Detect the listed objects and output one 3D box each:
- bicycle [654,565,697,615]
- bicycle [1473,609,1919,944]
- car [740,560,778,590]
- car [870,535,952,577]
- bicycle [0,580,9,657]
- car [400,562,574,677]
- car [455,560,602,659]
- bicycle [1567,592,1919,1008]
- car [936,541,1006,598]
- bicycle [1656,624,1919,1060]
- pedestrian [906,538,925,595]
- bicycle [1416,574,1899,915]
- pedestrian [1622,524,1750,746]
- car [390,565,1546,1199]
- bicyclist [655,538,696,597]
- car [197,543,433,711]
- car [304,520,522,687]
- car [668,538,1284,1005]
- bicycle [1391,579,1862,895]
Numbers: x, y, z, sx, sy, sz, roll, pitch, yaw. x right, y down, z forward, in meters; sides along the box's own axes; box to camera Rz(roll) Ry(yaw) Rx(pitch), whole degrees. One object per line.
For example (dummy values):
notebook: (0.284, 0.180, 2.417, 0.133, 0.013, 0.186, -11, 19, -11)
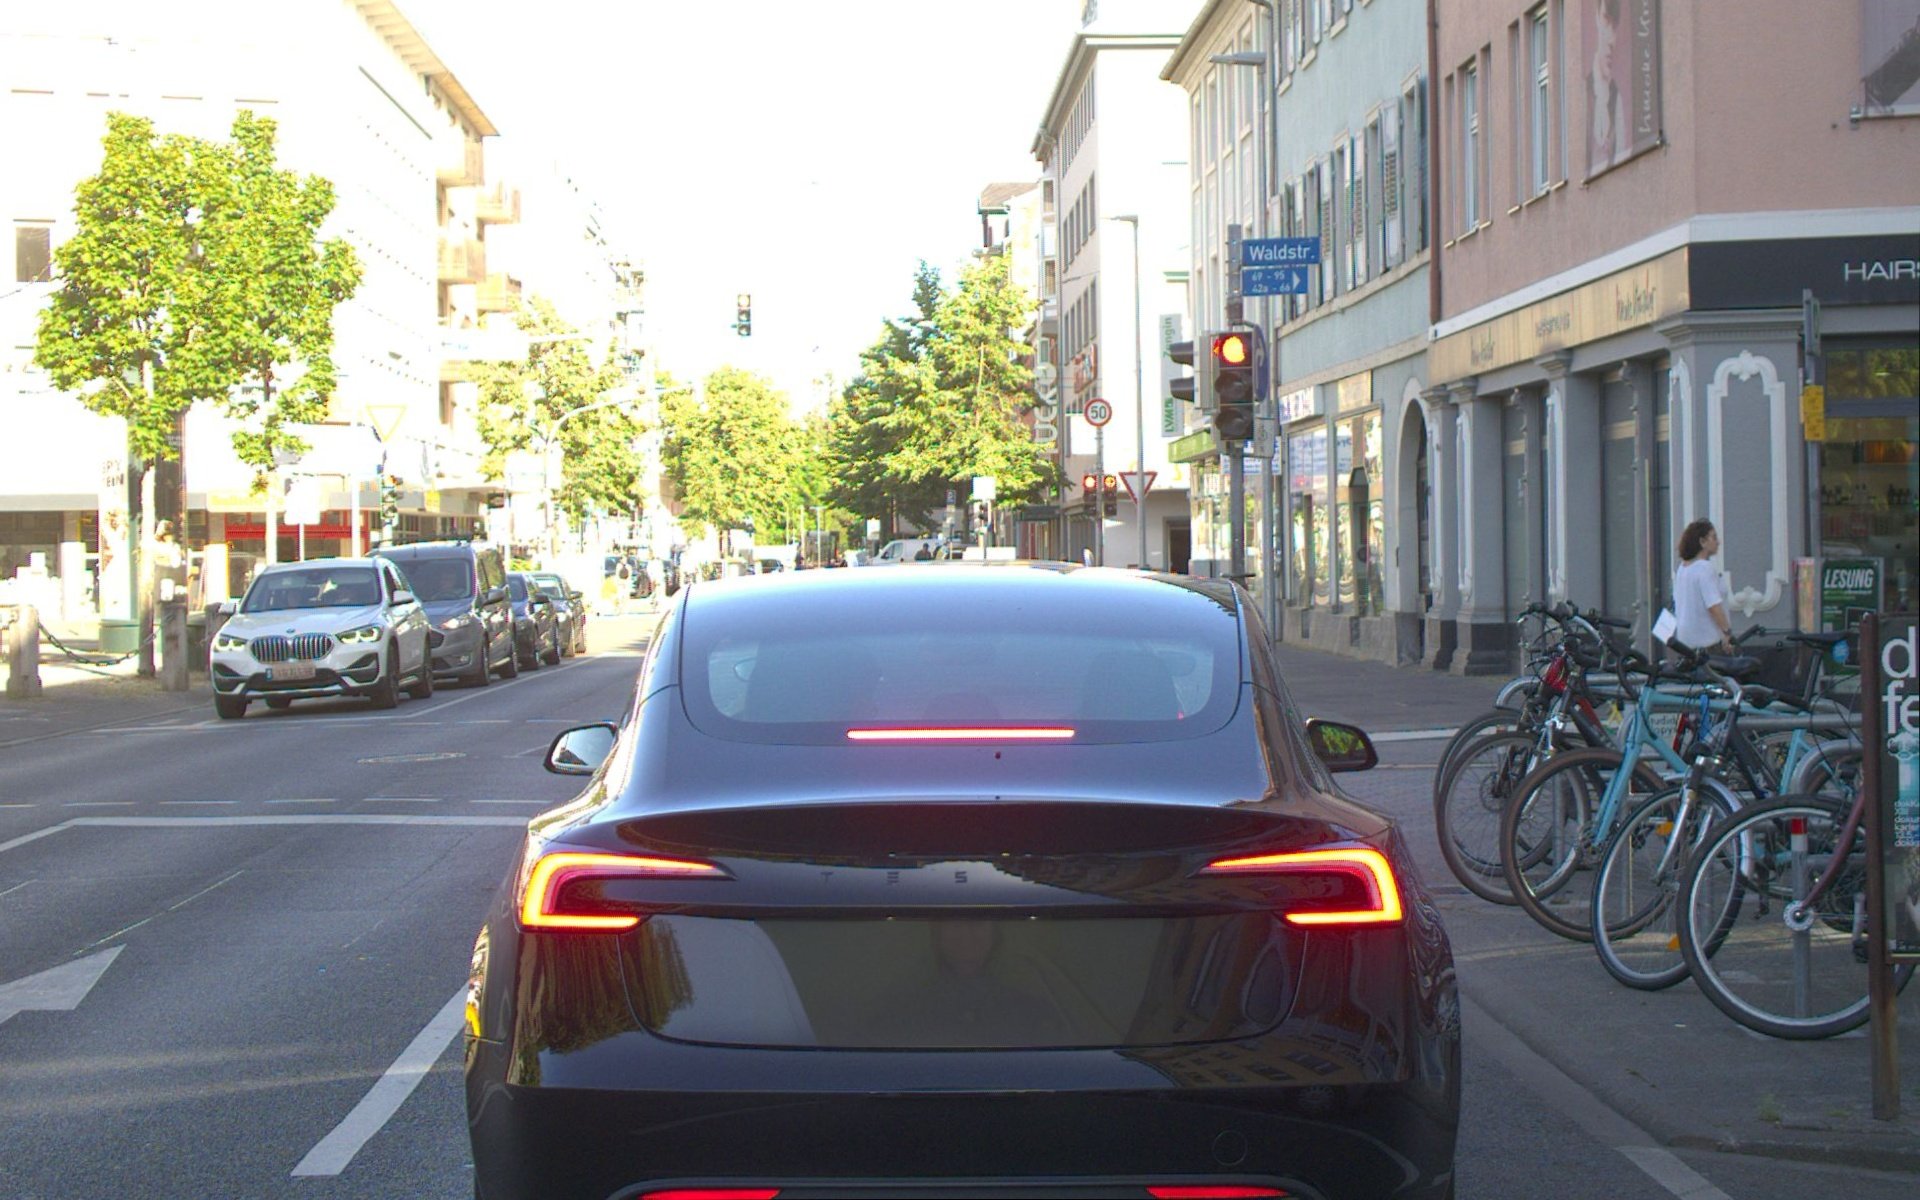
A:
bicycle: (-7.890, -0.293, 95.541, 1.111, 1.340, 4.001, 0, 1, -3)
bicycle: (2.809, 0.624, 12.480, 1.798, 1.120, 0.781, -2, 1, 5)
car: (-10.935, -1.365, 187.085, 1.993, 1.631, 4.001, 0, 1, -3)
car: (-2.413, -2.146, 167.563, 3.986, 2.007, 2.000, 0, 1, -2)
bicycle: (-15.708, 0.283, 52.242, 2.323, 1.152, 0.843, 0, 1, -5)
car: (-6.742, 0.241, 49.443, 1.993, 1.405, 4.675, -4, 1, -3)
car: (-7.107, 0.123, 57.034, 1.993, 1.431, 4.675, -4, 1, -3)
bicycle: (2.889, 0.621, 11.128, 1.722, 1.263, 0.790, -2, 1, 5)
car: (0.301, -0.894, 100.874, 1.993, 1.623, 4.000, 0, 1, 0)
bicycle: (3.035, 0.671, 9.997, 1.886, 1.189, 0.691, -2, 1, 5)
pedestrian: (-1.559, -1.186, 120.975, 0.640, 2.007, 0.691, 0, 1, -4)
bicycle: (2.742, 0.559, 13.658, 1.746, 1.262, 0.781, -2, 1, 3)
pedestrian: (5.135, 0.239, 24.357, 0.747, 1.547, 0.699, 0, 1, -1)
car: (-0.007, 0.656, 7.510, 1.848, 1.450, 4.000, 0, 1, -1)
bicyclist: (-7.907, -0.908, 95.624, 1.126, 1.623, 0.965, 0, 1, -3)
car: (-6.745, 0.234, 36.352, 1.807, 1.550, 4.310, -4, 1, -3)
car: (-6.711, -0.002, 42.614, 1.834, 1.838, 4.674, -4, 1, 0)
car: (-0.016, 0.520, 13.219, 1.993, 1.507, 4.176, 0, 1, -2)
bicycle: (2.812, 0.570, 14.689, 1.862, 1.253, 0.832, -2, 1, 5)
